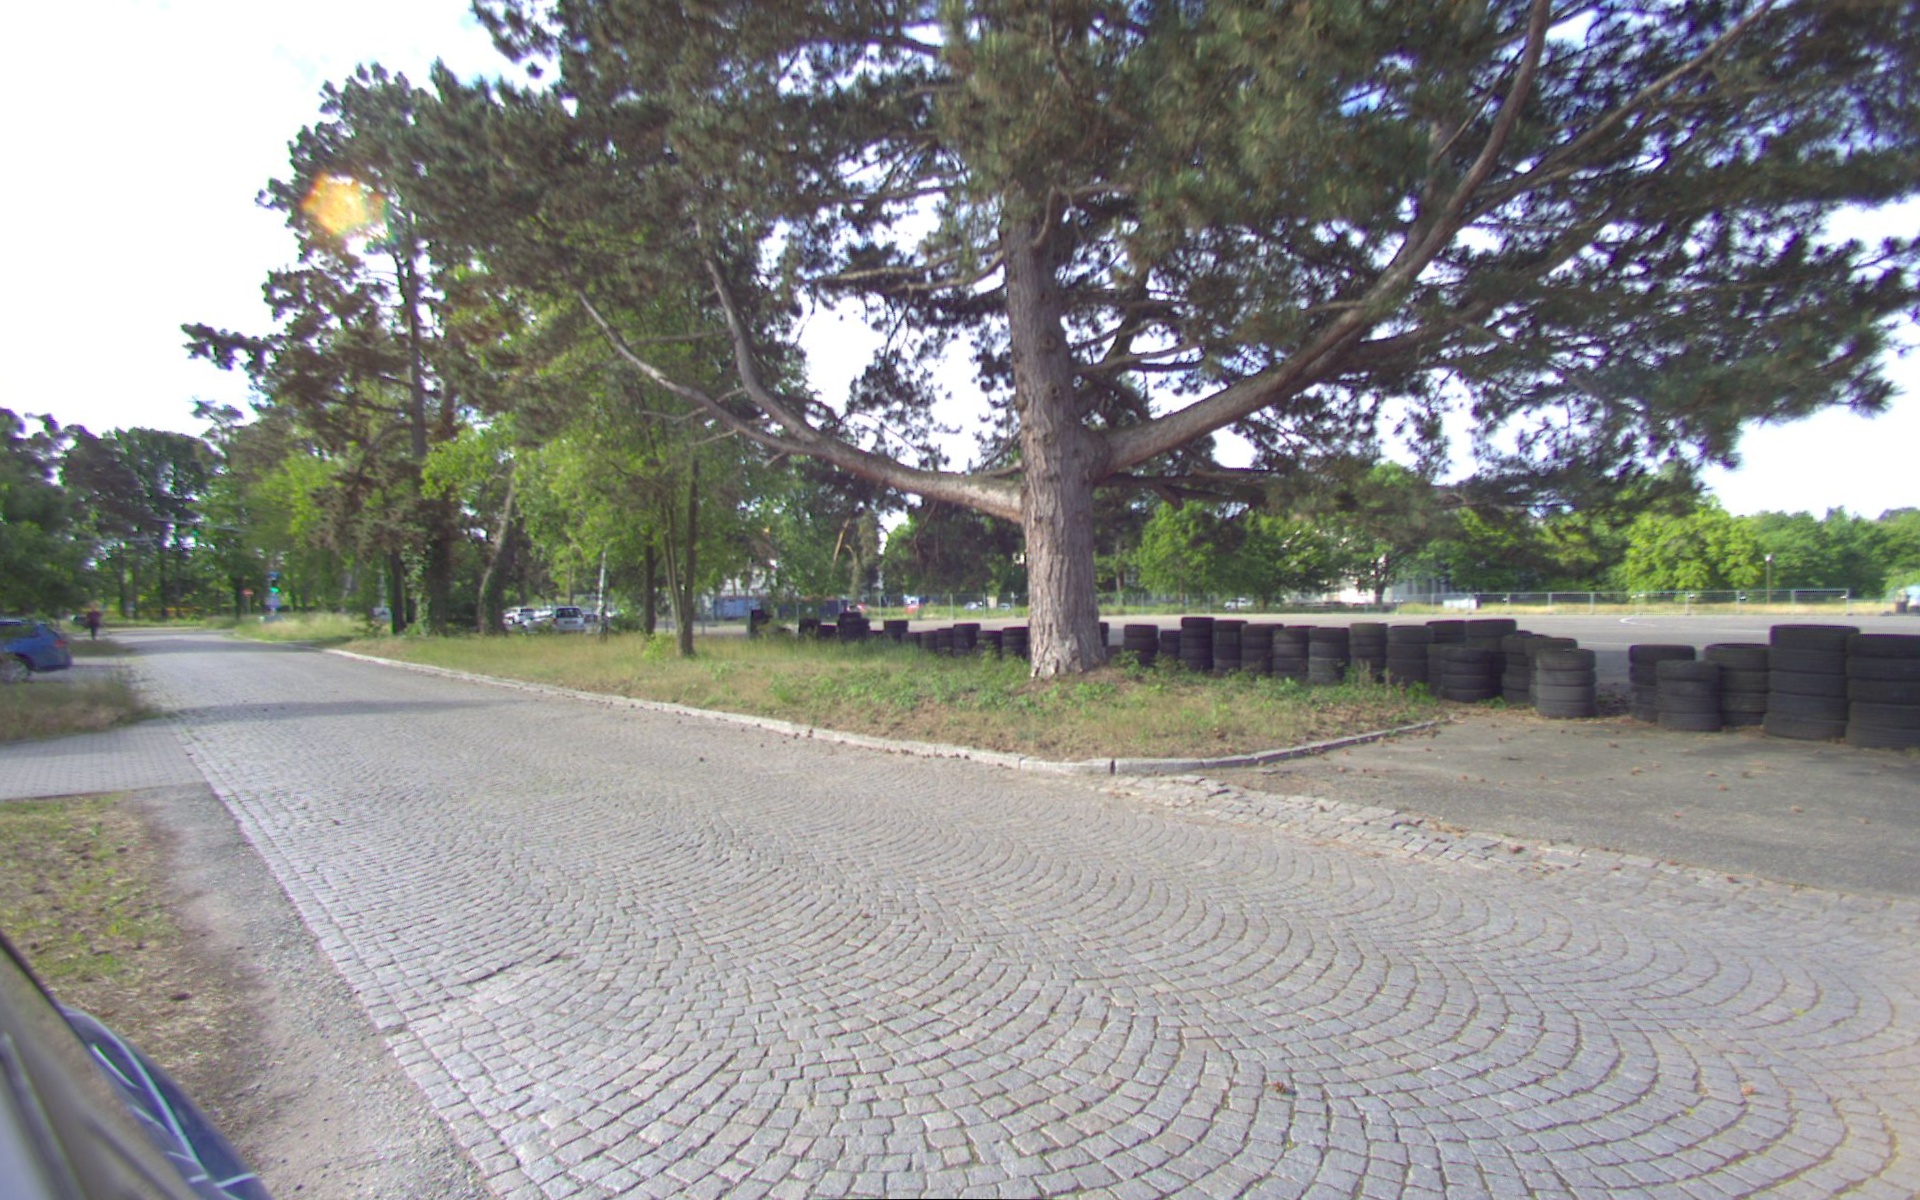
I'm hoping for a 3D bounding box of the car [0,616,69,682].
[{"bbox_3d":[-22.364,1.100,22.992,1.493,1.468,3.048,-1,-3,44],"label":"car"}]

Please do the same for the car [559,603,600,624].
[{"bbox_3d":[-31.743,1.132,84.306,1.969,1.630,4.006,-1,0,-40],"label":"car"}]

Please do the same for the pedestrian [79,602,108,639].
[{"bbox_3d":[-44.005,1.022,51.396,0.953,1.858,0.947,-1,0,35],"label":"pedestrian"}]

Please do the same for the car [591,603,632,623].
[{"bbox_3d":[-29.748,1.092,86.434,1.969,1.630,4.006,-1,0,-40],"label":"car"}]

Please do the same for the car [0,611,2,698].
[{"bbox_3d":[-18.078,0.996,17.000,2.724,1.561,1.428,-1,0,-37],"label":"car"}]

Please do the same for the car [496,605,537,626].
[{"bbox_3d":[-35.297,1.236,80.514,1.969,1.630,4.006,-1,0,-40],"label":"car"}]

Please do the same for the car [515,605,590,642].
[{"bbox_3d":[-18.376,1.048,45.559,1.863,1.552,4.005,0,0,-42],"label":"car"}]
